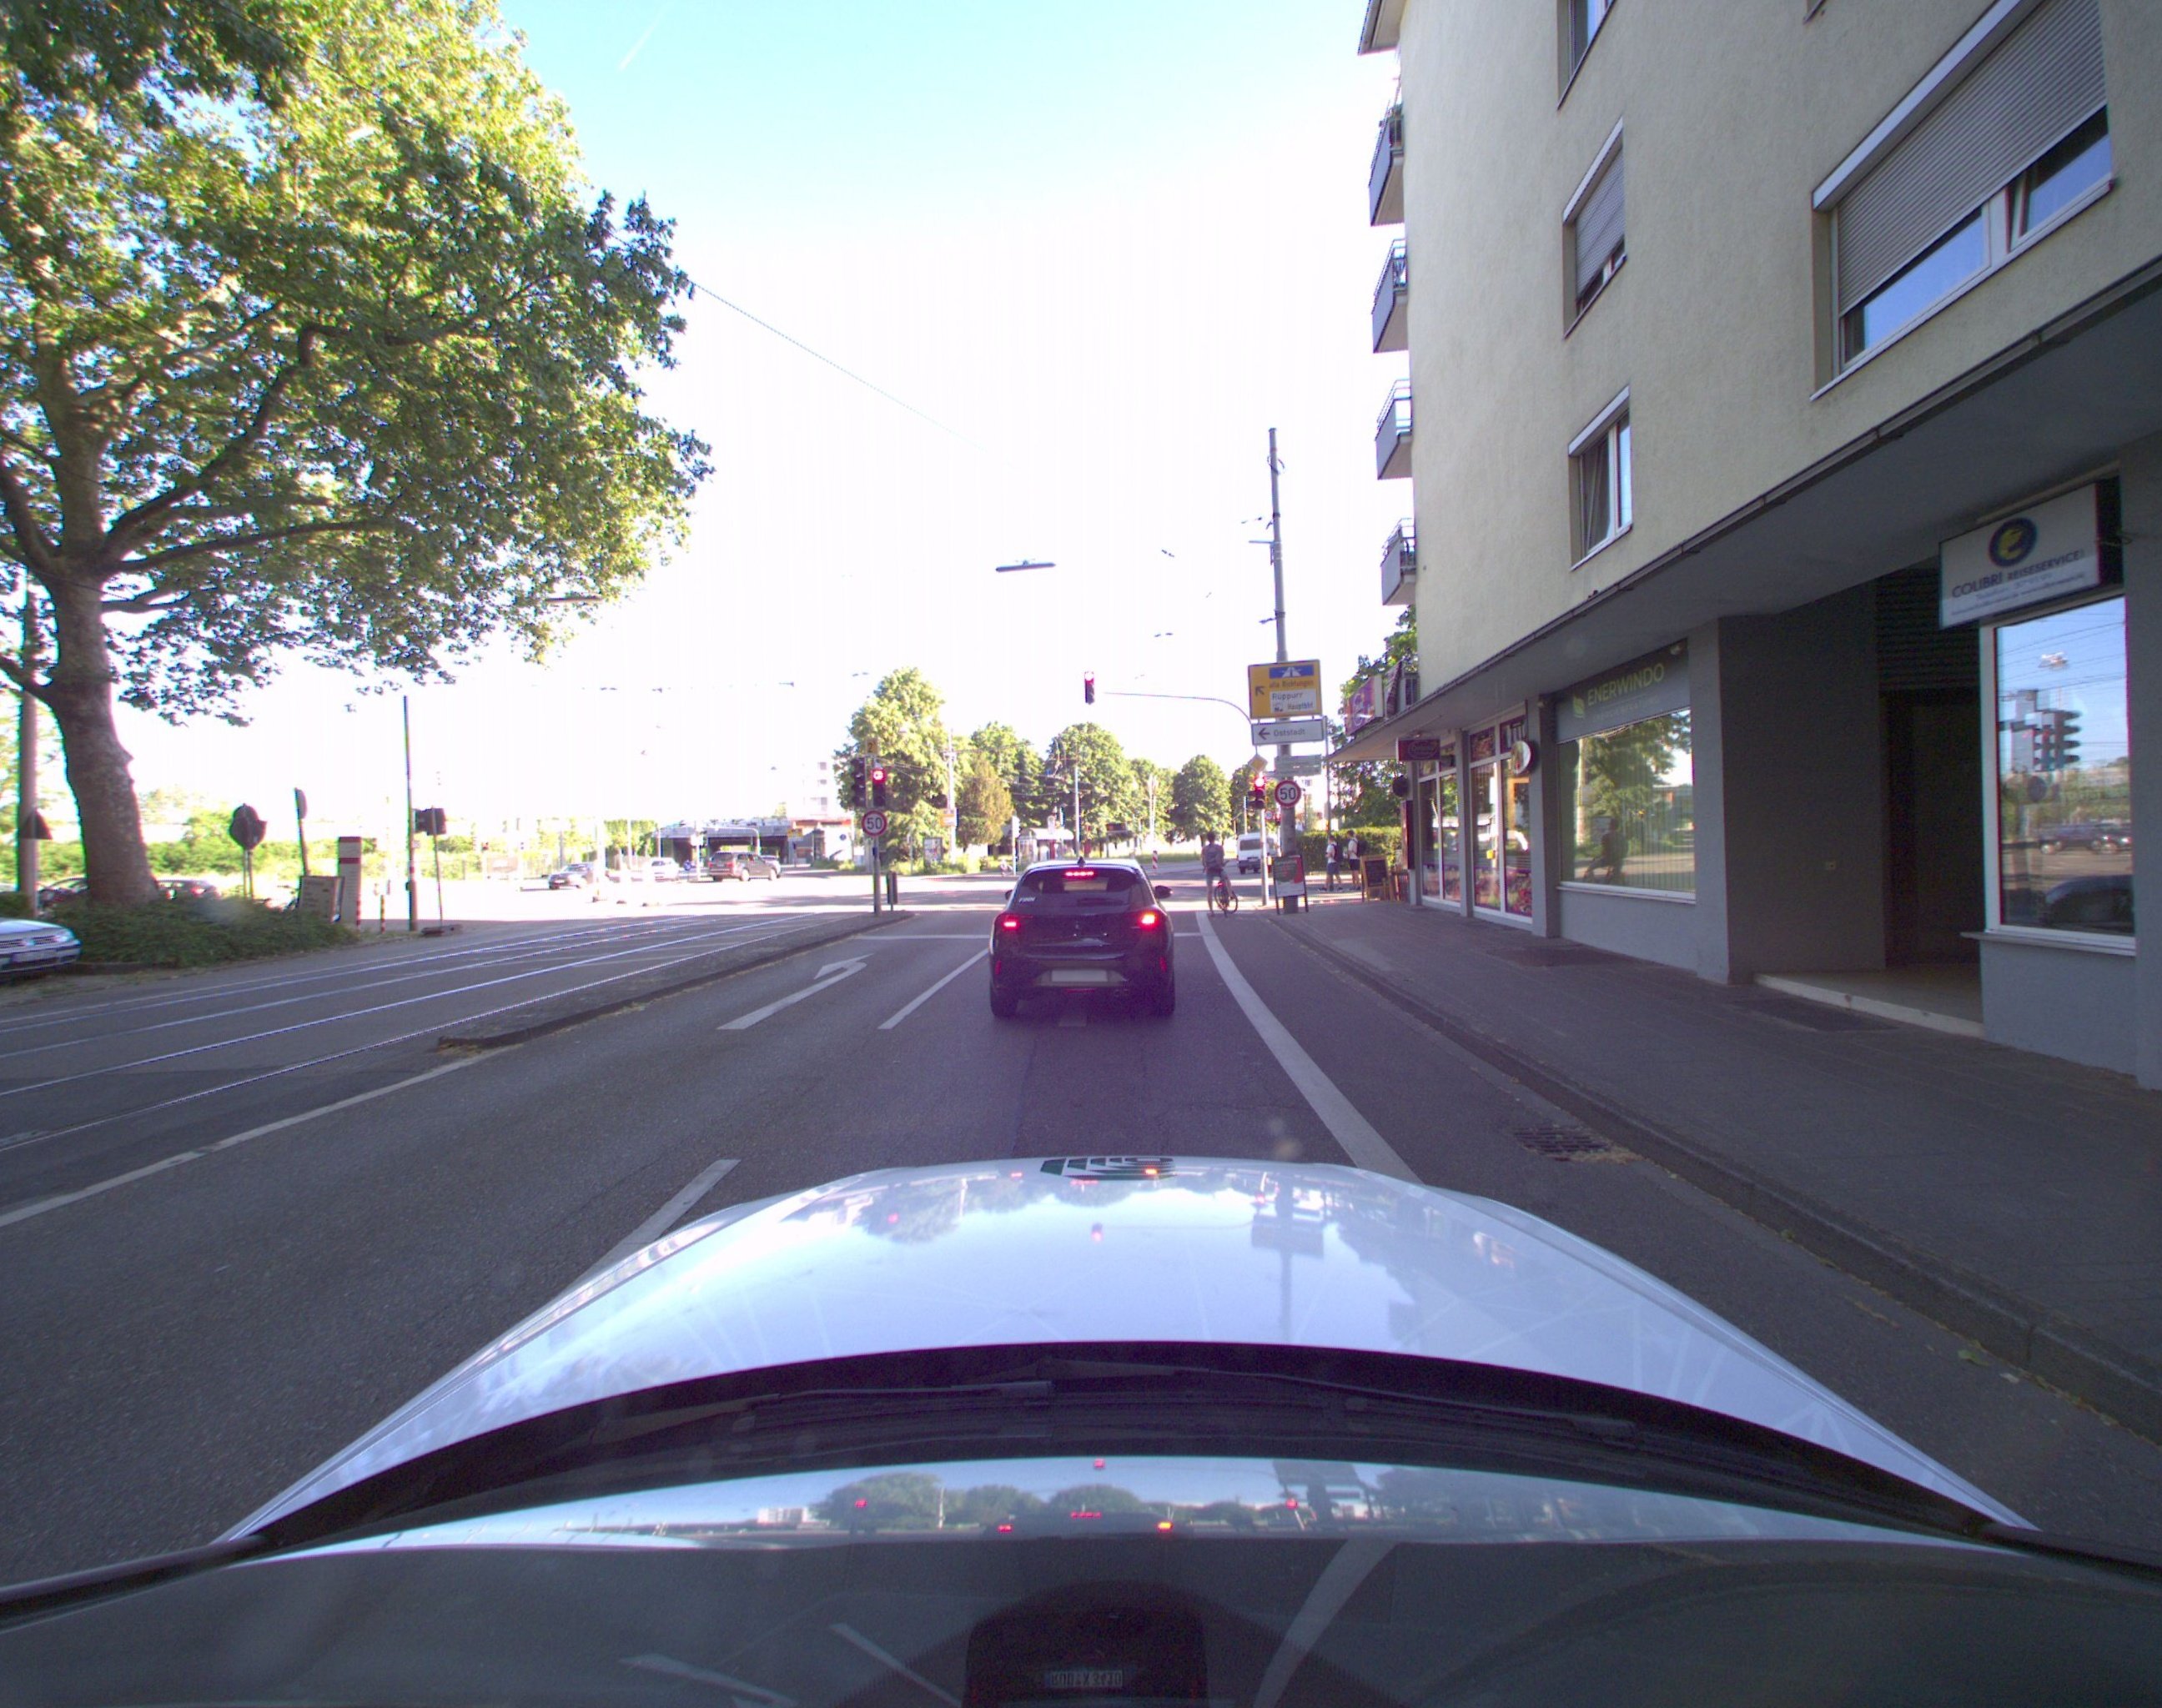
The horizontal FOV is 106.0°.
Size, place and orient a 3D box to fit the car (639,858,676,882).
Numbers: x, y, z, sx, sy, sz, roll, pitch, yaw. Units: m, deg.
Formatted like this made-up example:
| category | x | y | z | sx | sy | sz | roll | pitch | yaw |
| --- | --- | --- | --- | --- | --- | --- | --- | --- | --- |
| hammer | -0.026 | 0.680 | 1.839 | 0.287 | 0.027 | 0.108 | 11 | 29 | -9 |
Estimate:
| category | x | y | z | sx | sy | sz | roll | pitch | yaw |
| --- | --- | --- | --- | --- | --- | --- | --- | --- | --- |
| car | -29.517 | 1.078 | 56.837 | 1.892 | 1.585 | 3.809 | 0 | -1 | -21 |

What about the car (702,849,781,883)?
| category | x | y | z | sx | sy | sz | roll | pitch | yaw |
| --- | --- | --- | --- | --- | --- | --- | --- | --- | --- |
| car | -20.296 | 0.681 | 48.964 | 1.896 | 1.881 | 4.861 | -2 | 0 | 11 |

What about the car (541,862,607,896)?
| category | x | y | z | sx | sy | sz | roll | pitch | yaw |
| --- | --- | --- | --- | --- | --- | --- | --- | --- | --- |
| car | -29.463 | 1.416 | 47.490 | 1.985 | 1.764 | 4.338 | -2 | 0 | -15 |

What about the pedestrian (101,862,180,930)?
| category | x | y | z | sx | sy | sz | roll | pitch | yaw |
| --- | --- | --- | --- | --- | --- | --- | --- | --- | --- |
| pedestrian | -23.260 | 1.018 | 20.160 | 0.842 | 1.647 | 0.931 | 0 | -1 | 1 |

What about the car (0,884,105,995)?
| category | x | y | z | sx | sy | sz | roll | pitch | yaw |
| --- | --- | --- | --- | --- | --- | --- | --- | --- | --- |
| car | -16.625 | 1.199 | 11.348 | 3.957 | 1.453 | 1.670 | -1 | 0 | -1 |

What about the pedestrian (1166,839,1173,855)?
| category | x | y | z | sx | sy | sz | roll | pitch | yaw |
| --- | --- | --- | --- | --- | --- | --- | --- | --- | --- |
| pedestrian | 10.571 | -0.875 | 97.063 | 0.513 | 1.872 | 0.609 | -1 | -1 | 43 |

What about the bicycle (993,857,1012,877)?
| category | x | y | z | sx | sy | sz | roll | pitch | yaw |
| --- | --- | --- | --- | --- | --- | --- | --- | --- | --- |
| bicycle | -4.464 | 0.749 | 46.492 | 0.793 | 1.064 | 2.186 | -2 | 0 | 2 |

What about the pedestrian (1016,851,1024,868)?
| category | x | y | z | sx | sy | sz | roll | pitch | yaw |
| --- | --- | --- | --- | --- | --- | --- | --- | --- | --- |
| pedestrian | -5.467 | 0.514 | 72.771 | 0.566 | 1.472 | 0.667 | -2 | 0 | 9 |

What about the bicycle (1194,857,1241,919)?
| category | x | y | z | sx | sy | sz | roll | pitch | yaw |
| --- | --- | --- | --- | --- | --- | --- | --- | --- | --- |
| bicycle | 3.046 | 0.717 | 18.021 | 0.747 | 1.235 | 2.024 | -2 | 0 | 16 |

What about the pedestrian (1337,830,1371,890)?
| category | x | y | z | sx | sy | sz | roll | pitch | yaw |
| --- | --- | --- | --- | --- | --- | --- | --- | --- | --- |
| pedestrian | 8.425 | 0.194 | 25.133 | 0.635 | 1.820 | 0.740 | 0 | -1 | -23 |

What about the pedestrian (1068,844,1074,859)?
| category | x | y | z | sx | sy | sz | roll | pitch | yaw |
| --- | --- | --- | --- | --- | --- | --- | --- | --- | --- |
| pedestrian | -1.213 | -0.280 | 98.421 | 0.736 | 1.872 | 0.661 | 0 | -1 | -4 |

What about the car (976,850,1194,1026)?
| category | x | y | z | sx | sy | sz | roll | pitch | yaw |
| --- | --- | --- | --- | --- | --- | --- | --- | --- | --- |
| car | 0.097 | 0.705 | 8.935 | 1.833 | 1.462 | 3.985 | -1 | 0 | 2 |

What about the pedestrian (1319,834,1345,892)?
| category | x | y | z | sx | sy | sz | roll | pitch | yaw |
| --- | --- | --- | --- | --- | --- | --- | --- | --- | --- |
| pedestrian | 7.777 | 0.272 | 25.249 | 0.630 | 1.763 | 0.583 | 0 | -1 | 5 |

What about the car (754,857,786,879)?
| category | x | y | z | sx | sy | sz | roll | pitch | yaw |
| --- | --- | --- | --- | --- | --- | --- | --- | --- | --- |
| car | -22.666 | 0.981 | 59.540 | 1.801 | 1.519 | 4.183 | 0 | -1 | -16 |

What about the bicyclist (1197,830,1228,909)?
| category | x | y | z | sx | sy | sz | roll | pitch | yaw |
| --- | --- | --- | --- | --- | --- | --- | --- | --- | --- |
| bicyclist | 2.875 | 0.333 | 17.837 | 0.529 | 1.692 | 0.571 | -2 | 0 | 19 |

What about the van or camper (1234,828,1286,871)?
| category | x | y | z | sx | sy | sz | roll | pitch | yaw |
| --- | --- | --- | --- | --- | --- | --- | --- | --- | --- |
| van or camper | 10.194 | -0.219 | 46.212 | 2.011 | 2.310 | 4.565 | -1 | -1 | 23 |
